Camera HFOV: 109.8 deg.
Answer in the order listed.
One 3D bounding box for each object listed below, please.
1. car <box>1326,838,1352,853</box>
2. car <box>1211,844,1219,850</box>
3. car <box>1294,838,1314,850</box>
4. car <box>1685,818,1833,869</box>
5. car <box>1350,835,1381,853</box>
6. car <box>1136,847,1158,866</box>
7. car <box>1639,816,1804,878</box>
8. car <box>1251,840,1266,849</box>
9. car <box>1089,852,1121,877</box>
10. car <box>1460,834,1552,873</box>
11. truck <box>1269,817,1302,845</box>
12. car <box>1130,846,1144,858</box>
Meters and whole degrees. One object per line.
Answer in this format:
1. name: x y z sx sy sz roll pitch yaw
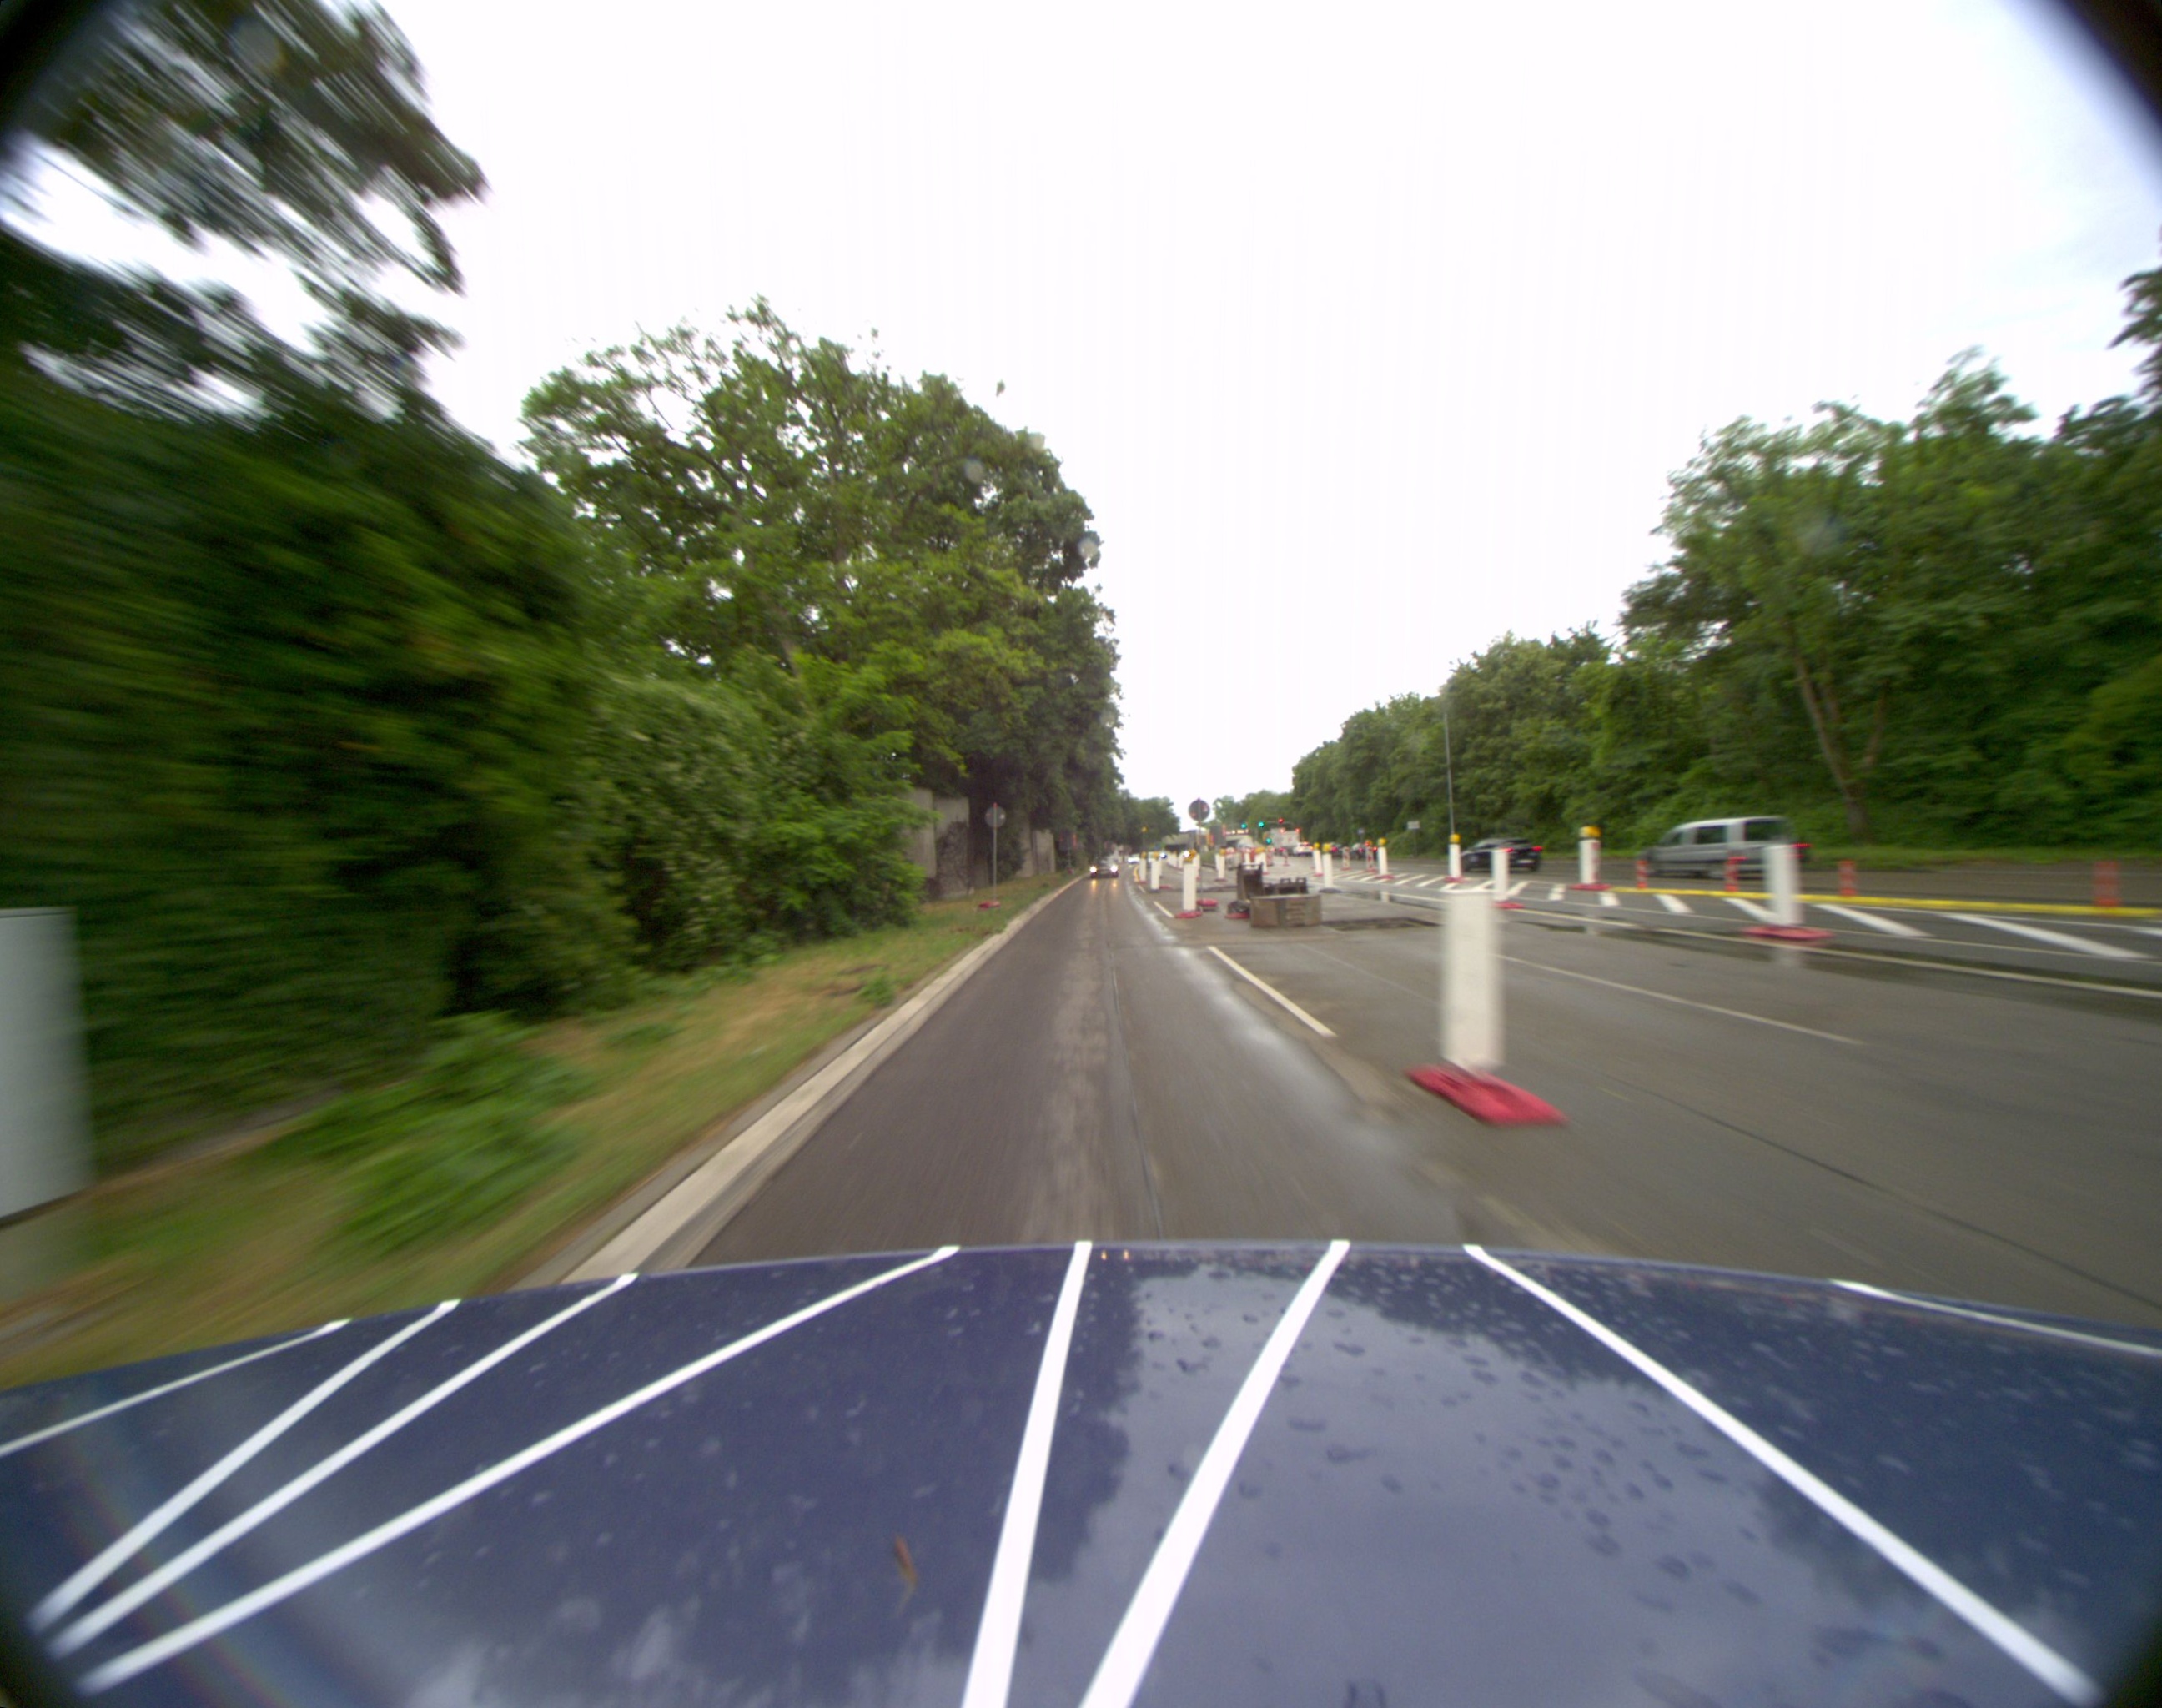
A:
1. car: 26.317 -0.881 77.655 1.678 1.487 3.771 -2 0 5
2. car: 37.554 -1.966 213.216 1.907 1.487 3.771 -2 0 6
3. car: 28.731 -1.323 98.062 1.907 1.487 3.771 -2 0 7
4. car: 21.787 -0.328 24.597 1.625 1.475 3.608 -2 0 2
5. car: 25.449 -0.893 68.095 1.678 1.487 3.771 -2 0 5
6. car: 6.027 0.228 69.466 1.793 1.575 3.862 -4 0 6
7. car: 18.486 -0.201 22.176 1.678 1.604 3.769 -2 0 2
8. car: 29.723 -1.618 127.224 1.865 1.487 4.179 -2 0 6
9. car: 1.654 0.659 51.257 1.700 1.477 4.001 -2 1 7
10. car: 17.745 -0.012 31.914 1.743 1.487 3.769 -2 0 1
11. truck: 30.076 -3.322 111.959 3.149 3.809 9.648 -2 1 6
12. car: 8.781 -0.323 118.887 1.706 1.681 4.474 -2 1 8
